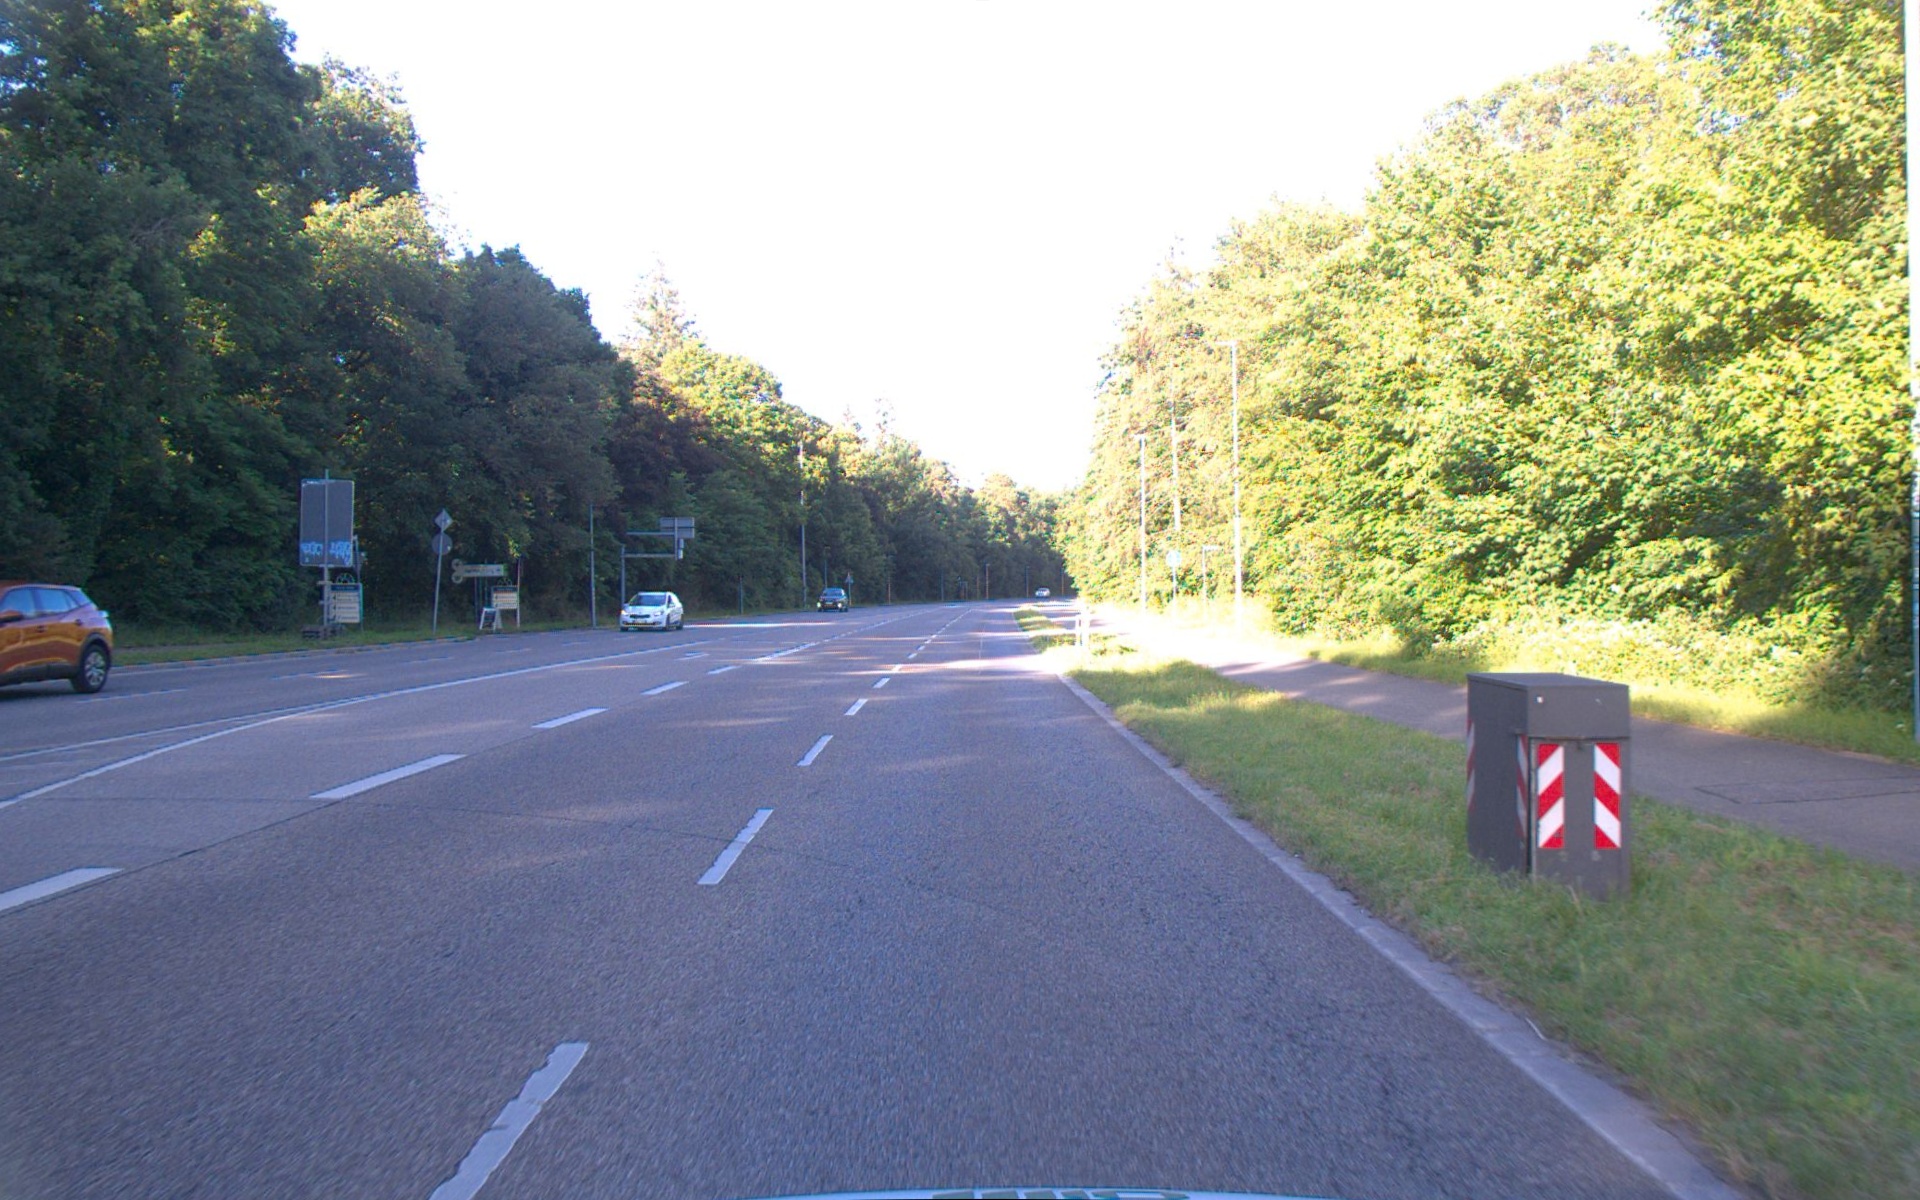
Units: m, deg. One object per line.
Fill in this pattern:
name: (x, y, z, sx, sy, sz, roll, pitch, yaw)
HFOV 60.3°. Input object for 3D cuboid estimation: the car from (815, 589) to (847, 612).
car: (-9.139, 0.039, 117.531, 1.787, 1.617, 4.352, 0, 0, 1)

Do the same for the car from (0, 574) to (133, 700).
car: (-12.811, 0.458, 21.513, 1.786, 1.572, 4.258, 0, 0, 3)

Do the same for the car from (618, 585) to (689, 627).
car: (-11.586, 0.216, 62.745, 1.787, 1.530, 4.307, 0, 0, 1)
